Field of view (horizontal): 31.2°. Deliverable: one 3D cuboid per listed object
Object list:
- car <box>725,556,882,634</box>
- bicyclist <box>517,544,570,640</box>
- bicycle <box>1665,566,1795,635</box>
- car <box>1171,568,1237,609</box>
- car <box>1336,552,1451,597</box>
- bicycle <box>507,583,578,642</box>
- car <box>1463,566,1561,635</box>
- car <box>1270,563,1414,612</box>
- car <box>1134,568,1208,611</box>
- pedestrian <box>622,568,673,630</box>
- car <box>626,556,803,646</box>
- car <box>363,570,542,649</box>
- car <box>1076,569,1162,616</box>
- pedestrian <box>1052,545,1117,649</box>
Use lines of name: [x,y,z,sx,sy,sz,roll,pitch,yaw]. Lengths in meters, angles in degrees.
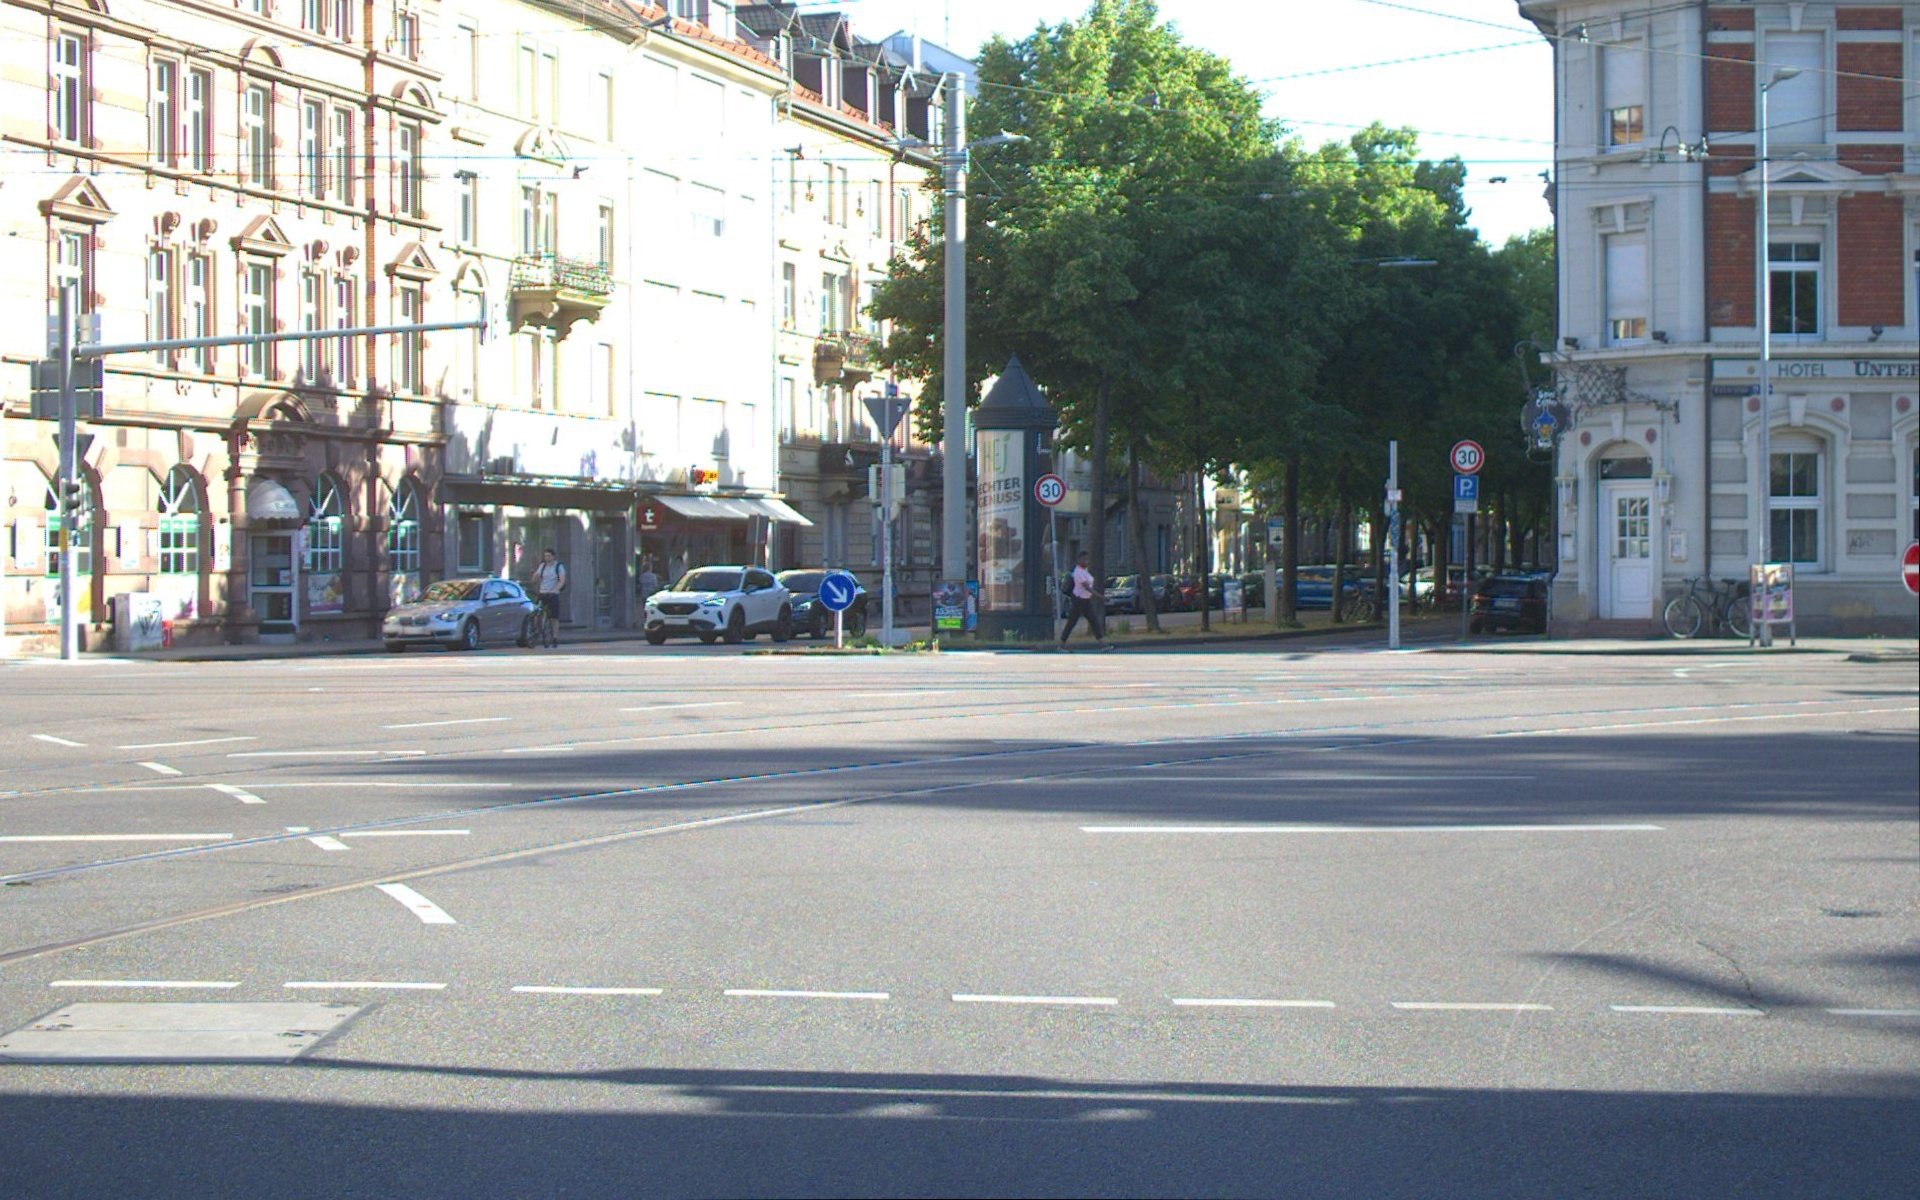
car: [-3.318,-0.130,73.854,1.995,1.606,4.387,0,1,17]
bicyclist: [-7.877,-0.158,65.062,0.679,1.814,1.070,0,1,12]
bicycle: [12.858,0.010,57.406,2.085,1.120,0.367,1,0,-4]
car: [9.697,-0.455,136.347,1.766,1.544,4.387,0,1,16]
car: [16.859,-1.003,133.640,3.993,1.700,1.997,0,1,30]
bicycle: [-7.888,0.222,65.026,0.680,1.062,2.124,0,1,12]
car: [13.269,-0.007,82.457,1.995,1.579,3.998,0,1,14]
car: [12.802,-0.428,115.362,4.382,1.606,1.997,0,1,27]
car: [8.031,-0.407,130.470,1.839,1.547,4.387,0,1,17]
pedestrian: [-7.767,-0.031,85.381,0.929,1.530,1.136,0,1,14]
car: [-4.763,-0.013,67.340,1.995,1.678,4.387,0,1,17]
car: [-9.851,0.154,67.065,1.900,1.450,3.997,0,1,17]
car: [5.705,-0.288,122.680,1.995,1.607,4.387,0,1,17]
pedestrian: [2.116,-0.054,58.294,1.046,1.738,0.808,0,1,6]
